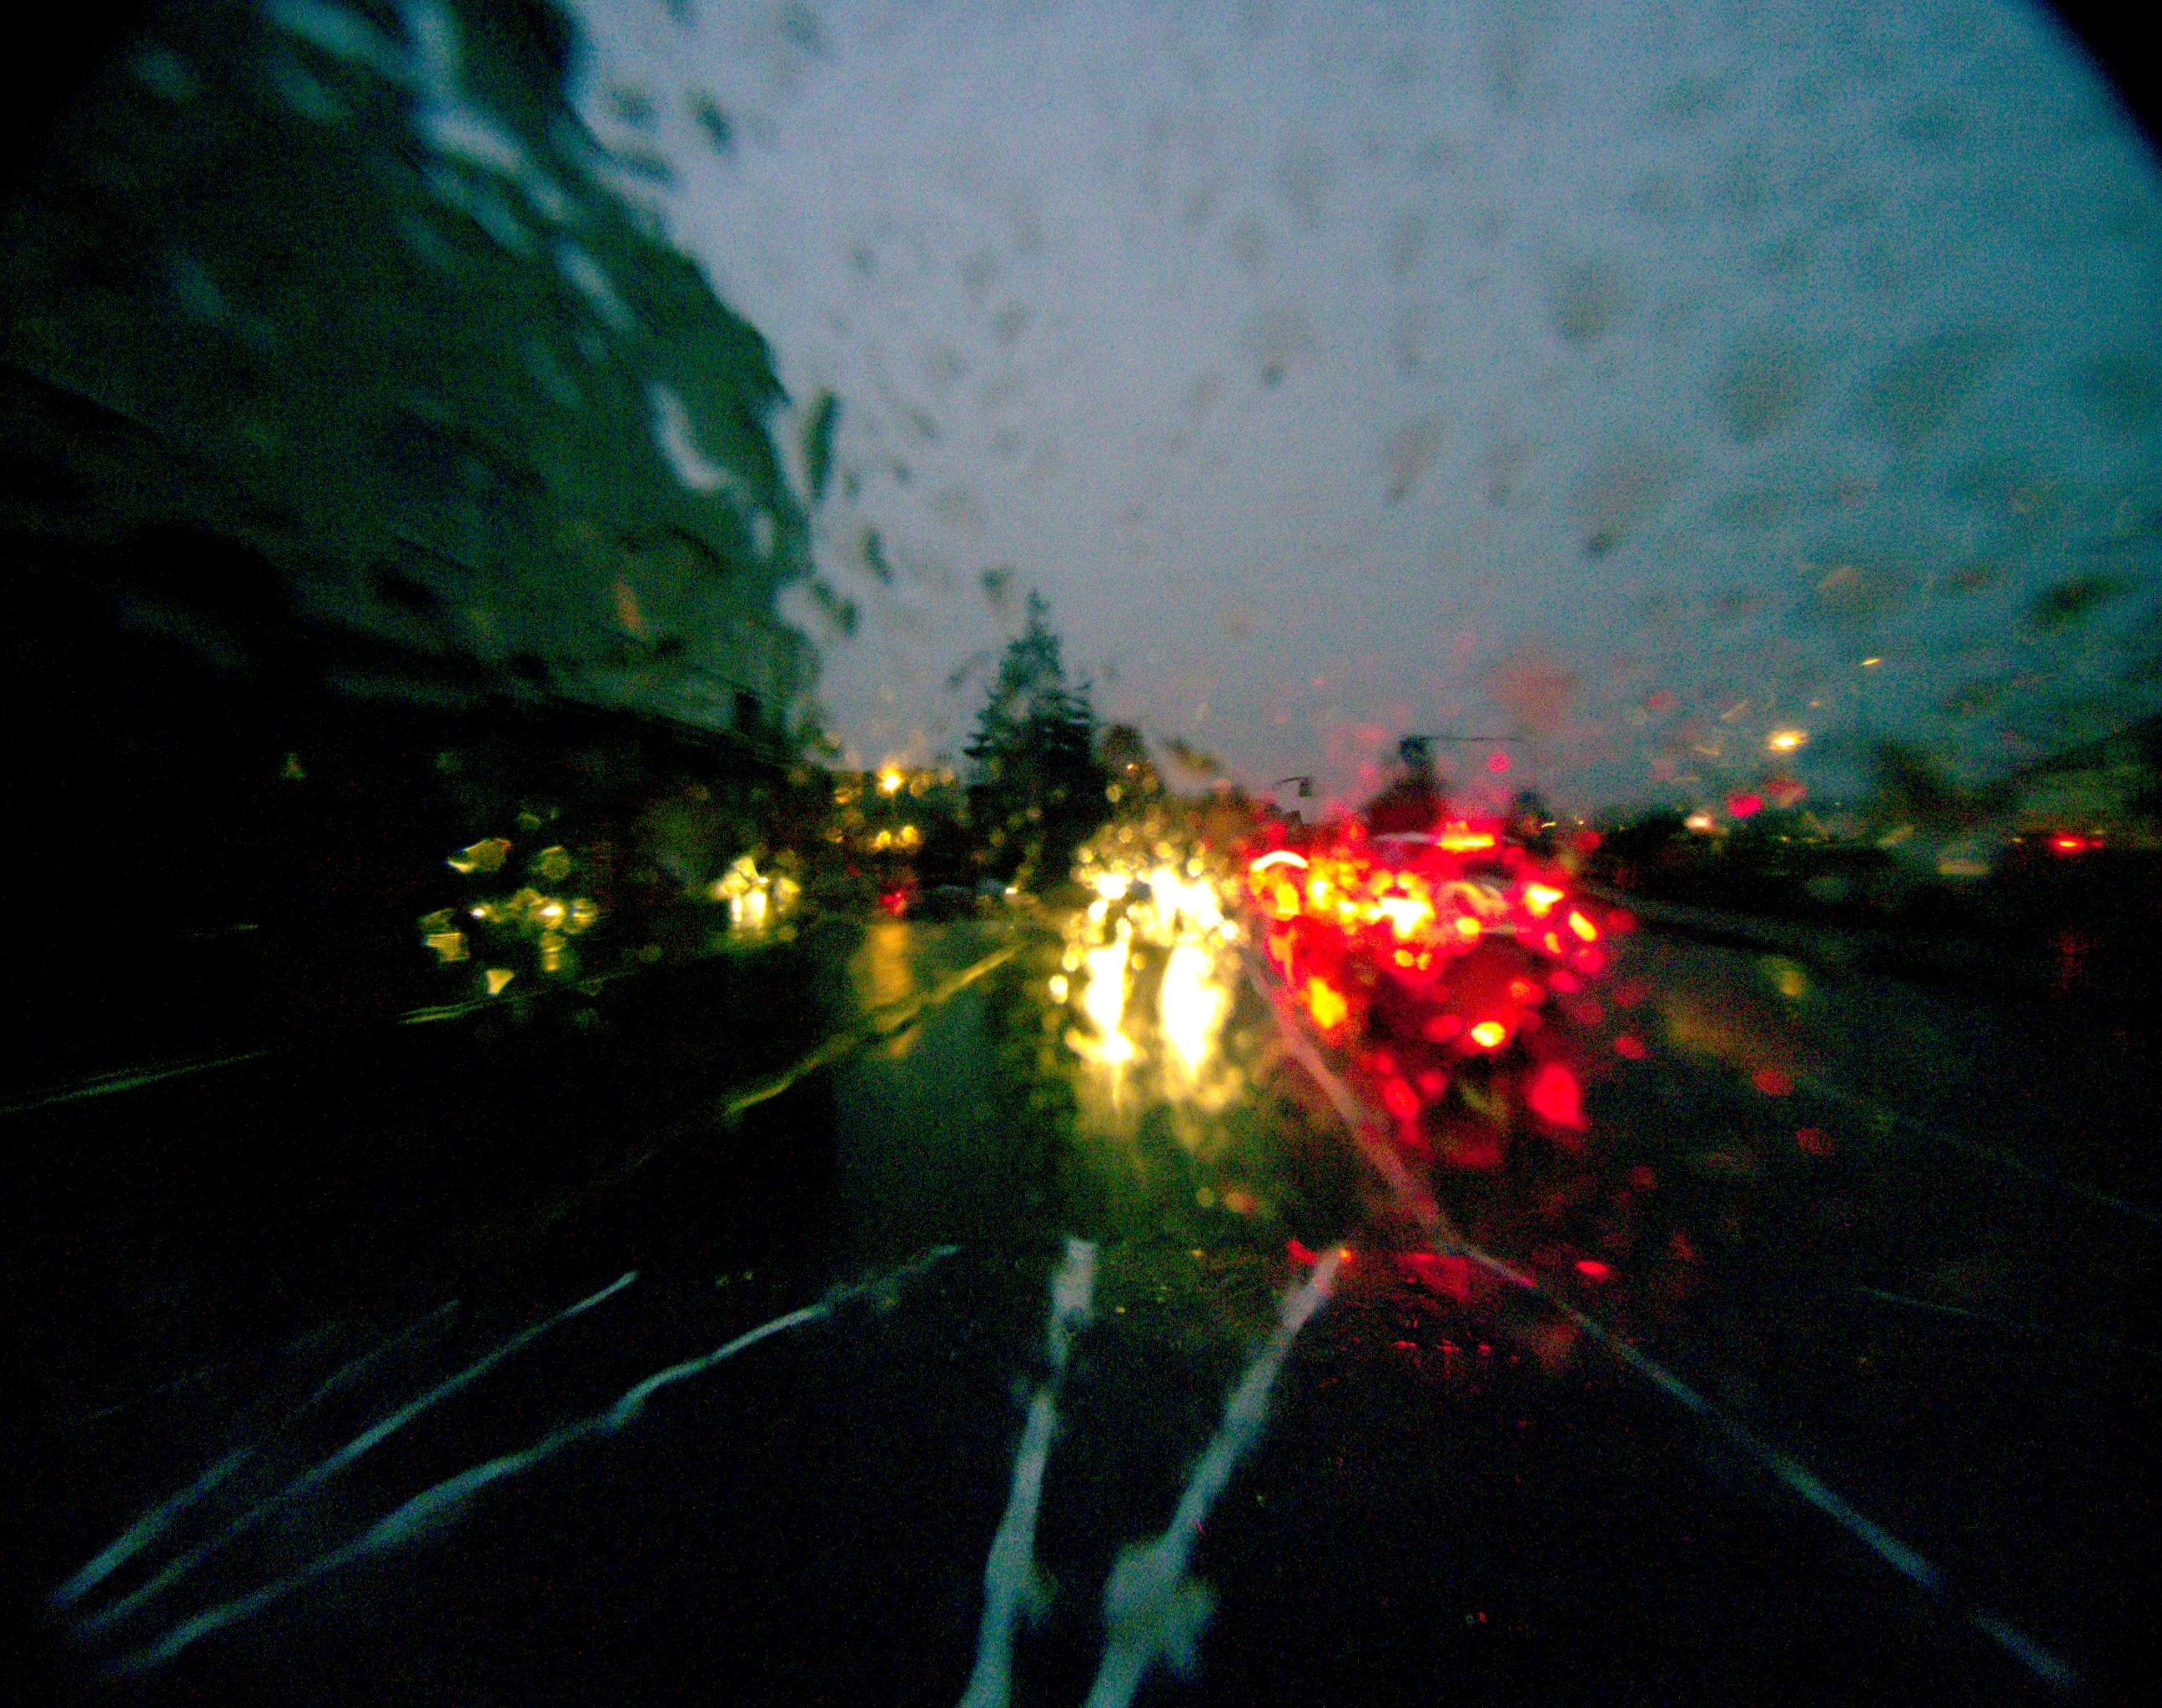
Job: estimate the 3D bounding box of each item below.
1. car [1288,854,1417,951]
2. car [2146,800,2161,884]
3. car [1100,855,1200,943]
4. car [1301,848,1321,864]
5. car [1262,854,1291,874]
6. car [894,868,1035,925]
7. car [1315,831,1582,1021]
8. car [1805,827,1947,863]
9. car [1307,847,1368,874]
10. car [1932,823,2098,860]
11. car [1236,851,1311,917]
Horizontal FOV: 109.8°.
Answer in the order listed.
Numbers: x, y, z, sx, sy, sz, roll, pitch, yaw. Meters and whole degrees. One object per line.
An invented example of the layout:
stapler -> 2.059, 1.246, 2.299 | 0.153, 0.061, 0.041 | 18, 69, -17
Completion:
car -> 4.846, 0.788, 14.071 | 1.774, 1.486, 4.046 | -2, 0, 14
car -> 31.578, -0.364, 19.688 | 5.200, 2.269, 2.218 | -1, -1, -4
car -> 1.660, 0.874, 16.780 | 1.774, 1.632, 4.425 | -2, 0, 10
car -> 27.818, 0.264, 91.772 | 1.945, 1.795, 4.178 | -3, 0, 20
car -> 15.753, 0.771, 60.988 | 1.773, 1.422, 3.802 | -3, -1, 21
car -> -3.738, 1.362, 24.786 | 4.180, 1.432, 1.798 | -5, -1, 2
car -> 4.030, 0.677, 9.168 | 1.774, 1.713, 4.425 | -2, 0, 11
car -> 37.513, -0.397, 36.052 | 1.687, 1.528, 4.785 | -2, 0, 0
car -> 15.532, 0.374, 45.877 | 1.995, 1.464, 4.008 | -3, 0, 42
car -> 42.626, -0.564, 34.869 | 1.889, 1.528, 4.653 | -2, 0, 0
car -> 5.105, 0.722, 19.968 | 1.665, 1.477, 4.004 | -2, 0, 16
